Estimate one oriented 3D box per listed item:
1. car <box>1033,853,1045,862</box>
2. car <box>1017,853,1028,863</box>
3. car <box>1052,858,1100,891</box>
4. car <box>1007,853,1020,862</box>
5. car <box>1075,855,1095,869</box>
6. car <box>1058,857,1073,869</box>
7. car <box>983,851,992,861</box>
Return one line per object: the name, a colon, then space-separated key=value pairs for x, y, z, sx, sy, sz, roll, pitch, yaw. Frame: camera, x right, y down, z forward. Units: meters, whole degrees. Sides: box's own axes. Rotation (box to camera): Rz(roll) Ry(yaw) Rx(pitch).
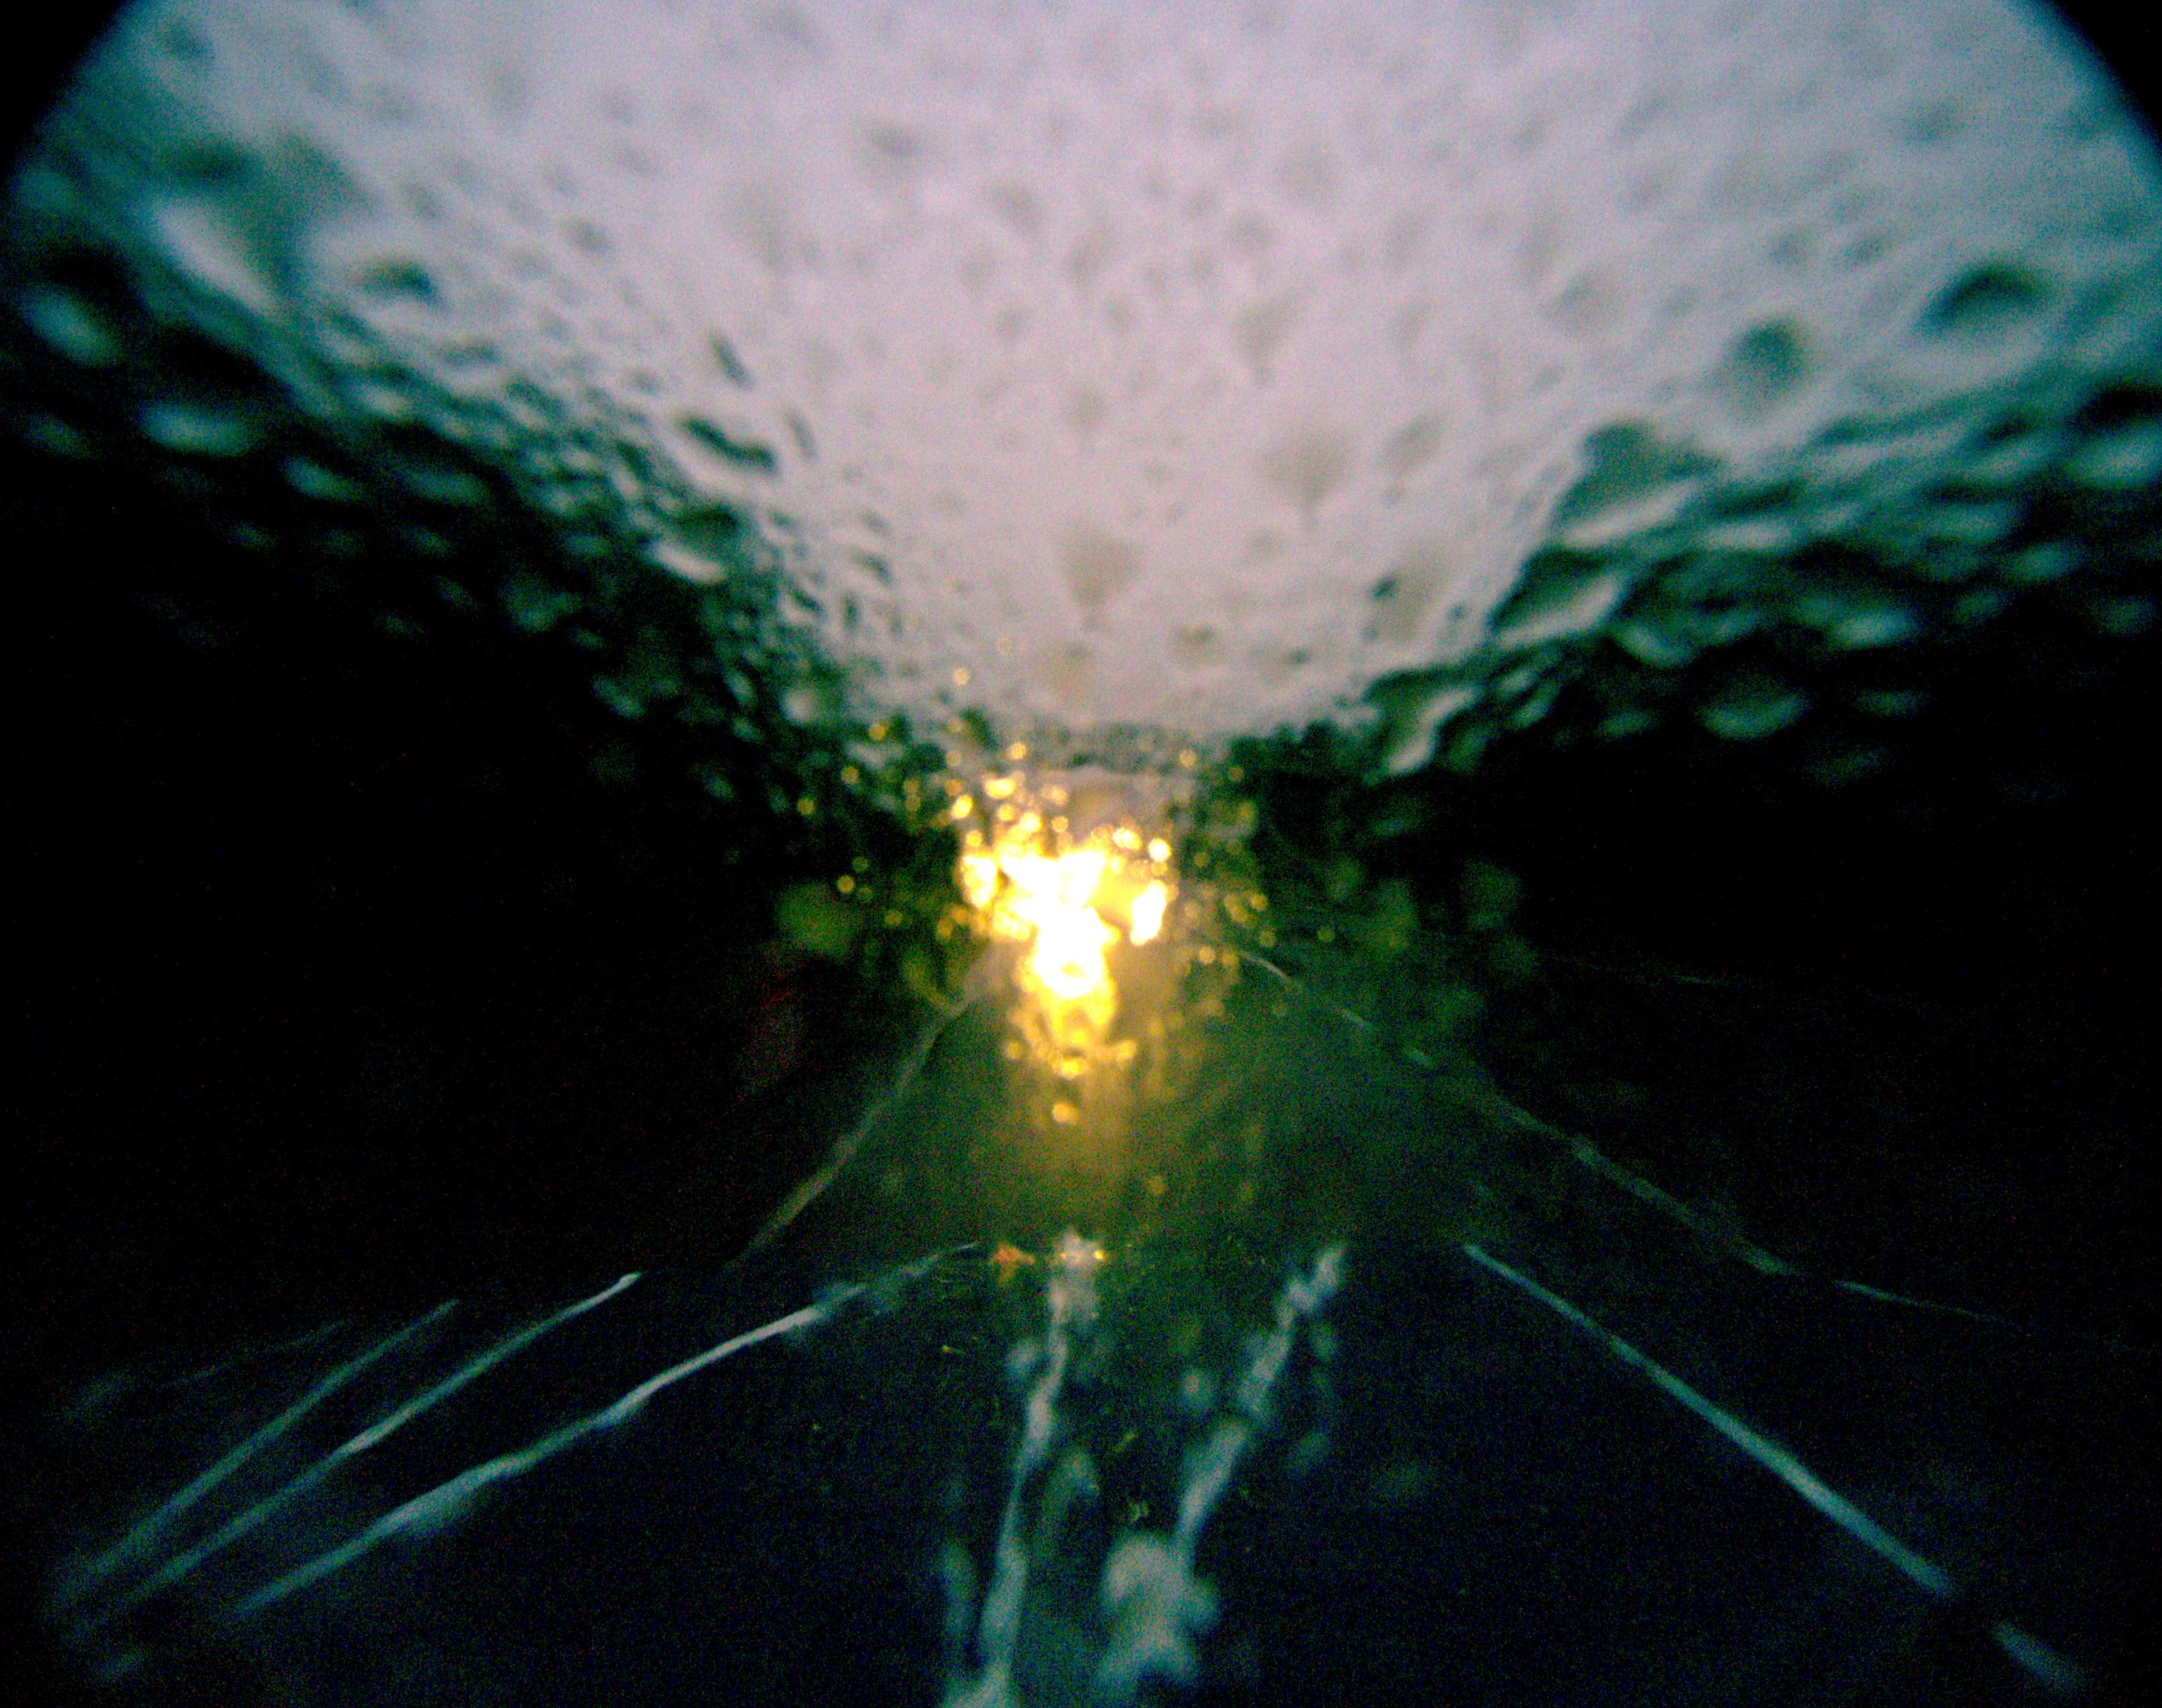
car: x=-7.771 y=0.577 z=141.011 sx=1.908 sy=1.638 sz=4.724 roll=-2 pitch=0 yaw=-6
car: x=-9.810 y=0.619 z=127.113 sx=1.718 sy=1.617 sz=4.215 roll=-2 pitch=1 yaw=-4
car: x=-0.302 y=0.926 z=35.685 sx=1.851 sy=1.429 sz=4.242 roll=0 pitch=0 yaw=-5
car: x=-12.592 y=0.576 z=141.702 sx=2.011 sy=1.547 sz=4.512 roll=-2 pitch=1 yaw=-8
car: x=0.452 y=0.841 z=85.520 sx=1.809 sy=1.445 sz=4.376 roll=-2 pitch=1 yaw=-5
car: x=-2.257 y=1.272 z=107.707 sx=1.865 sy=1.638 sz=4.465 roll=-1 pitch=1 yaw=-5
car: x=-18.324 y=0.434 z=148.571 sx=1.702 sy=1.721 sz=3.996 roll=-2 pitch=2 yaw=-7
